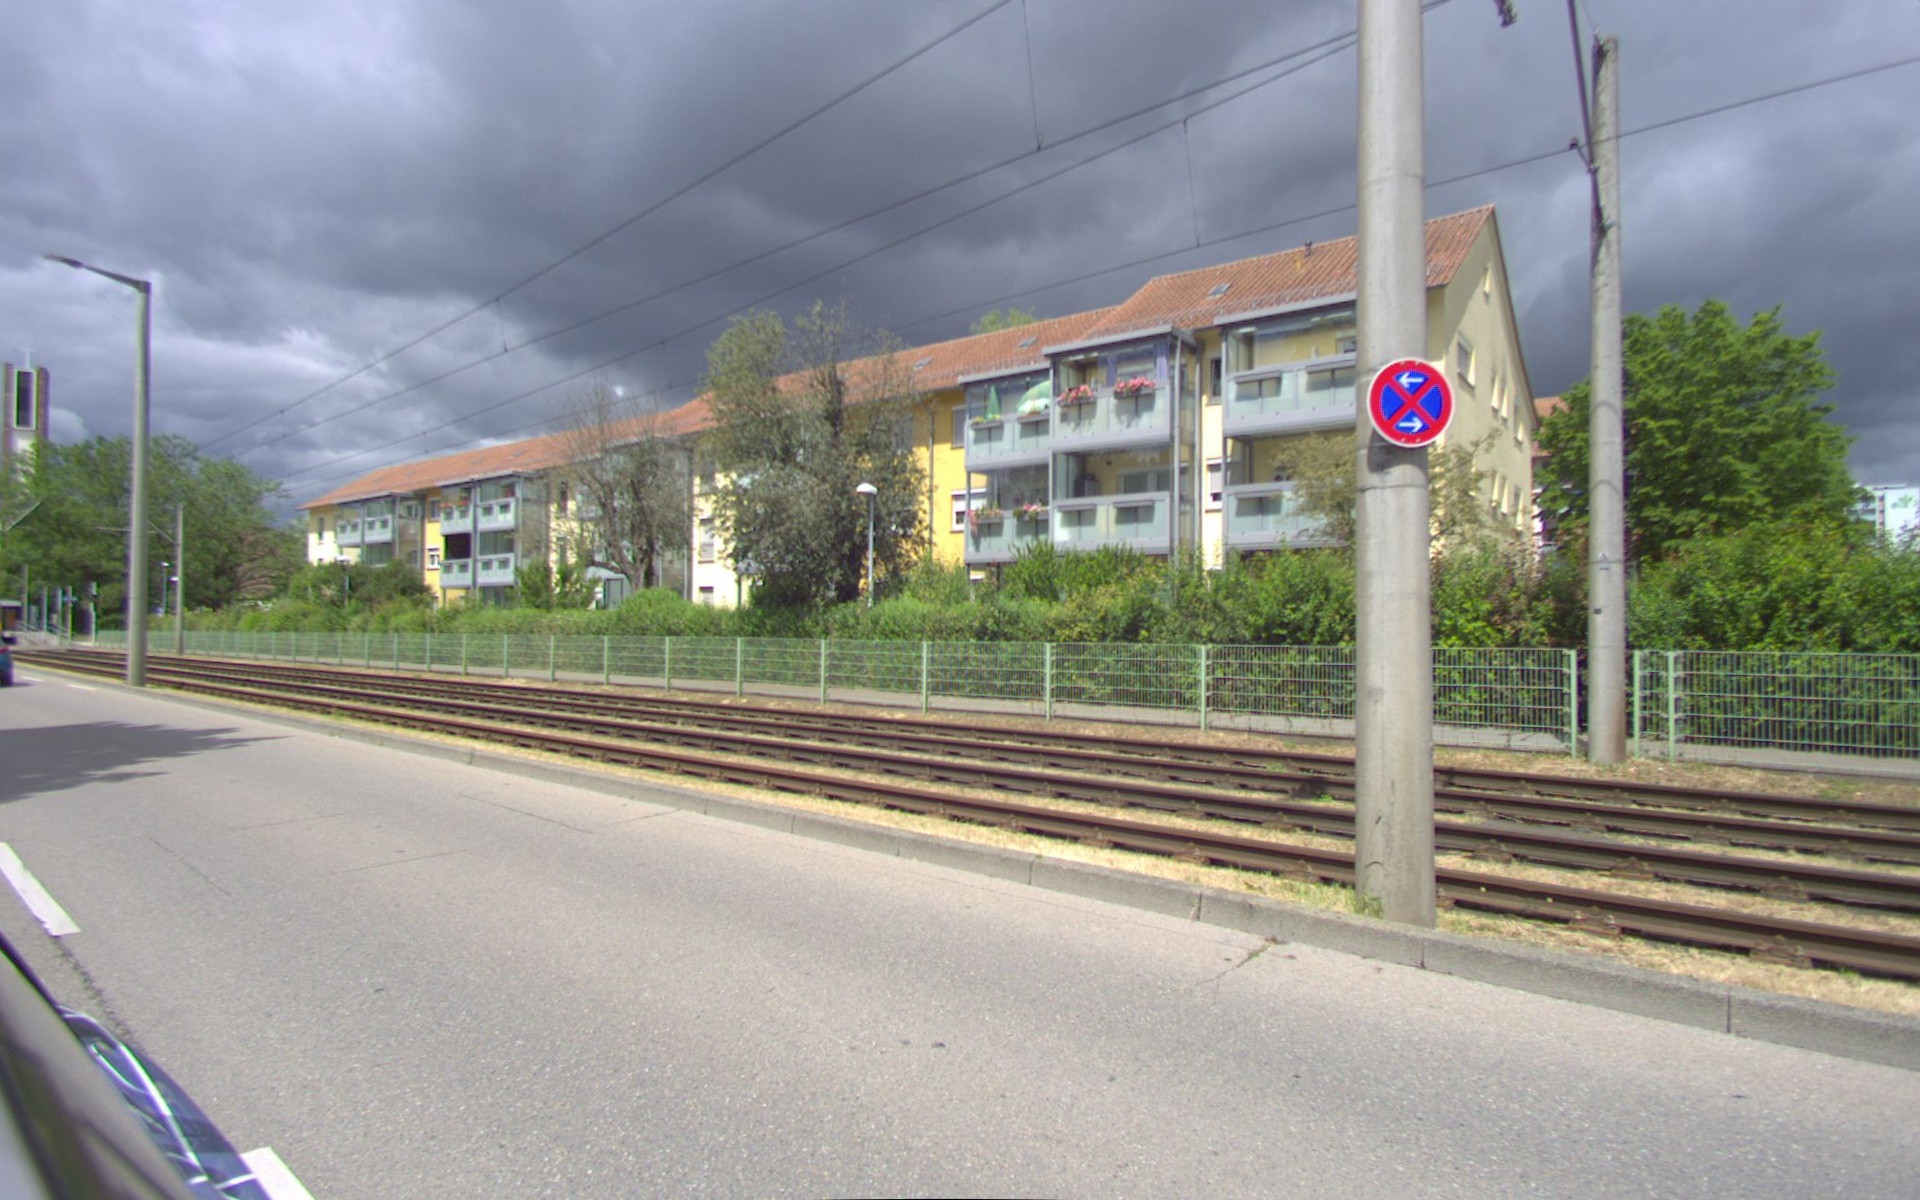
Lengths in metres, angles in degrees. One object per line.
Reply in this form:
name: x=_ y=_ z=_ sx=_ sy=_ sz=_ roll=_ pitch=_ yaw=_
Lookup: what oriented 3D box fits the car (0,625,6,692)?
car: x=-23.931 y=1.373 z=23.965 sx=3.579 sy=1.537 sz=1.607 roll=-2 pitch=-1 yaw=41
